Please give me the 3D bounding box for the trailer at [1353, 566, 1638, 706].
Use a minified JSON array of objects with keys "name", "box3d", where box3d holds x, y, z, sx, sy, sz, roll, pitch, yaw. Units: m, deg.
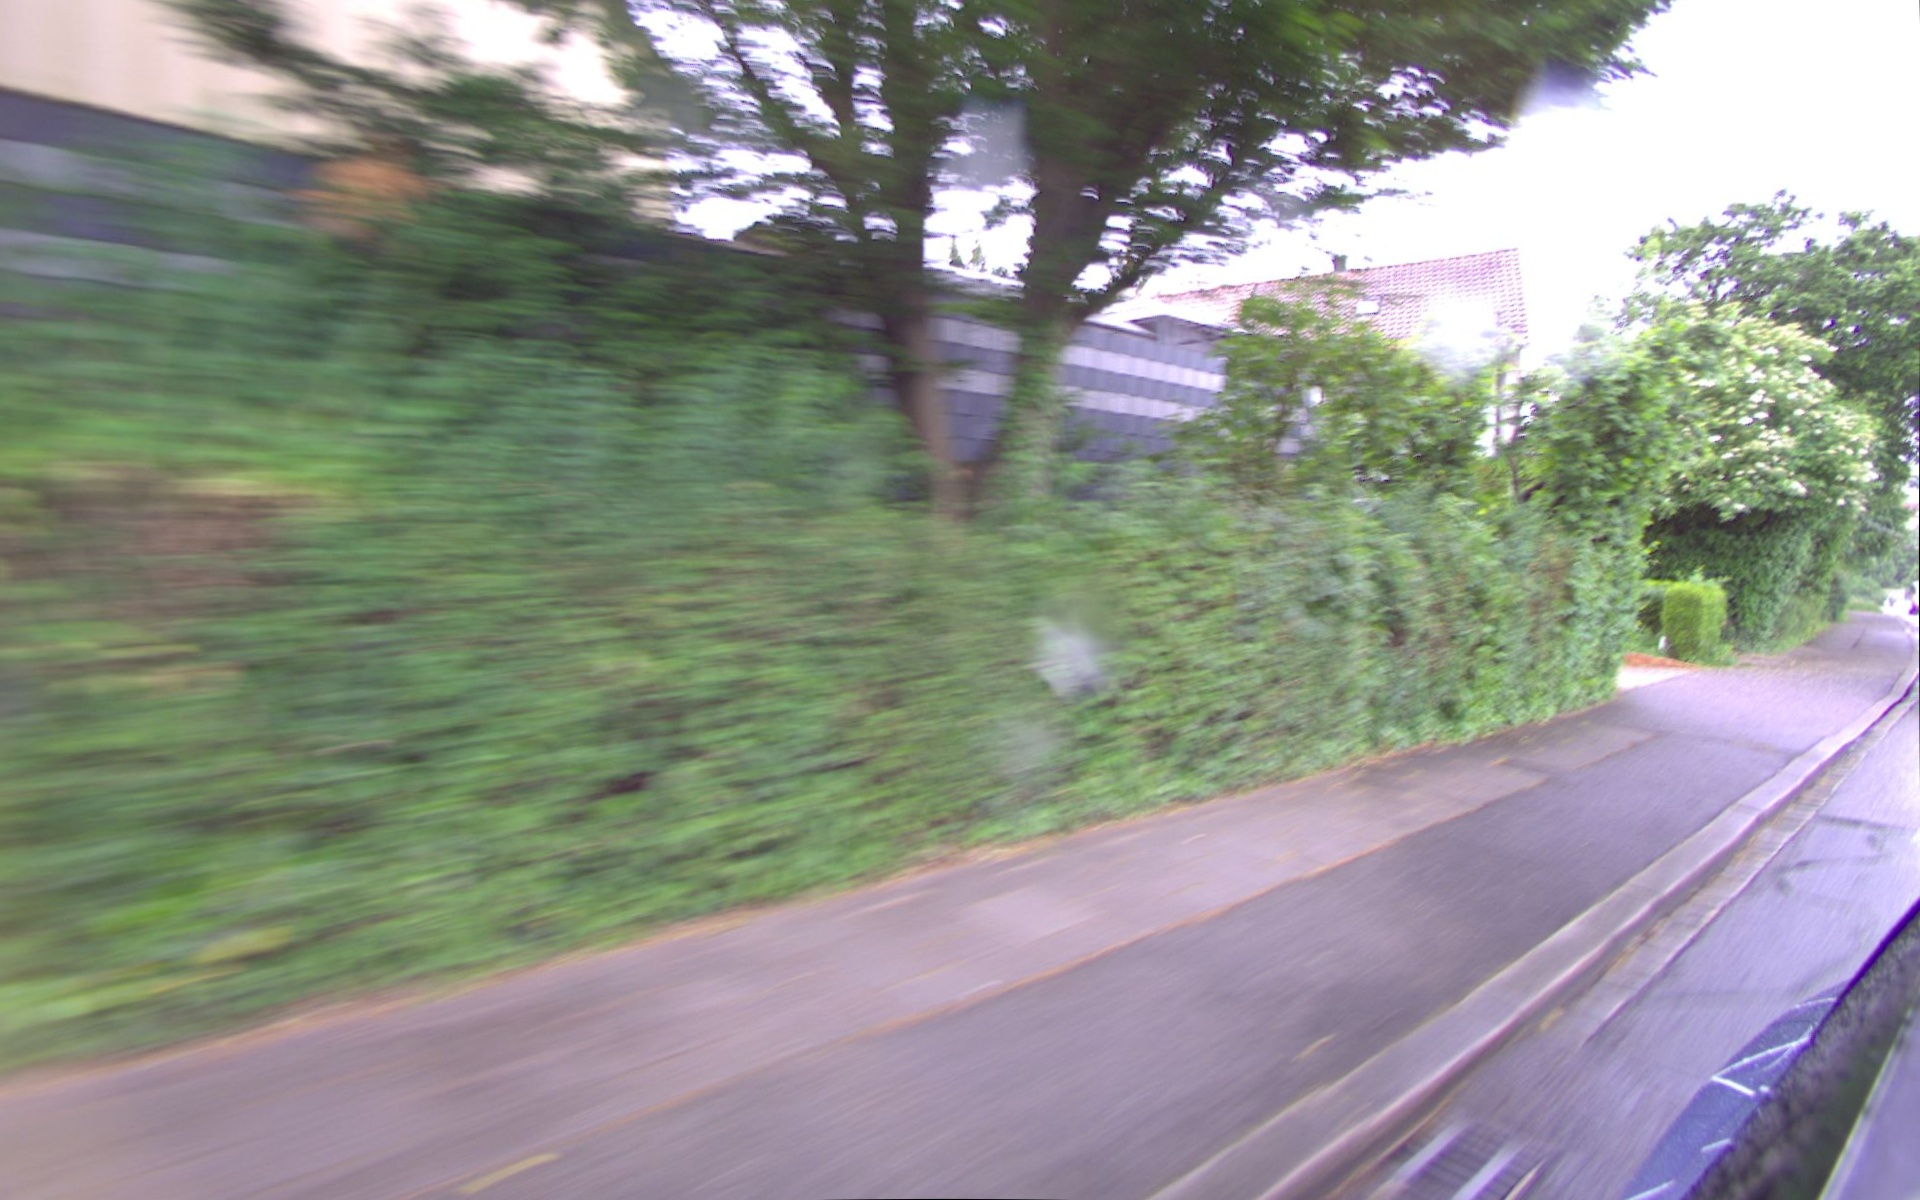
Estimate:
[{"name":"trailer","box3d":[7.155,0.523,13.692,1.464,1.591,2.981,-1,-5,-43]}]
